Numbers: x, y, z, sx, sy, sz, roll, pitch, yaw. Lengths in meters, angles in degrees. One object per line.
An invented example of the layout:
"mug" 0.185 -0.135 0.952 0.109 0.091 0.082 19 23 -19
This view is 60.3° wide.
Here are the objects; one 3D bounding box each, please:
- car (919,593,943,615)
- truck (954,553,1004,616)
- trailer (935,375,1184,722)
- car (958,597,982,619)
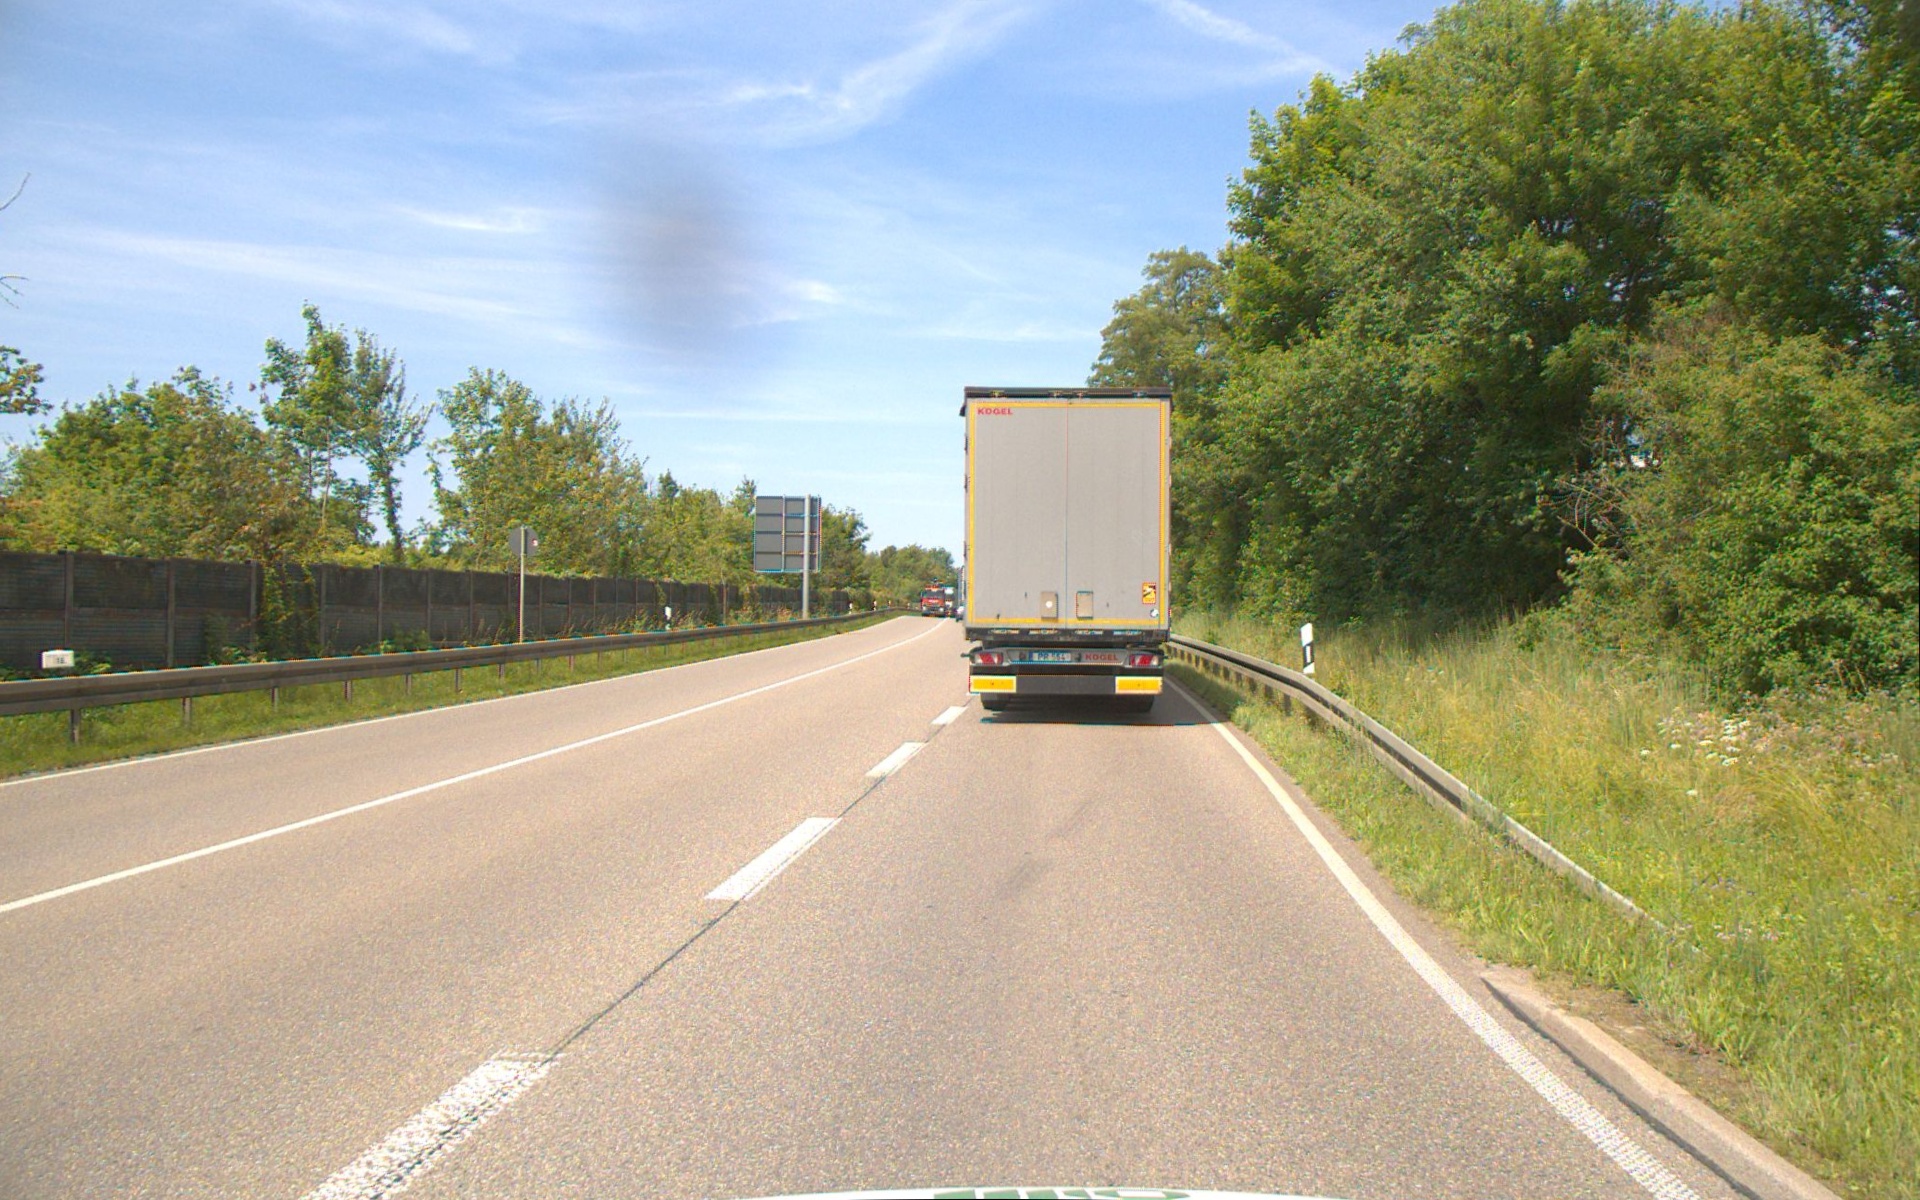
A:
"car" -3.268 0.421 185.018 2.563 2.465 5.827 -1 0 -2
"truck" 1.463 -1.158 134.059 3.750 4.827 16.202 0 0 0
"trailer" 1.823 -0.603 26.396 2.963 4.105 13.360 0 0 6
"car" 0.737 0.539 115.709 1.631 1.512 4.000 1 0 1
